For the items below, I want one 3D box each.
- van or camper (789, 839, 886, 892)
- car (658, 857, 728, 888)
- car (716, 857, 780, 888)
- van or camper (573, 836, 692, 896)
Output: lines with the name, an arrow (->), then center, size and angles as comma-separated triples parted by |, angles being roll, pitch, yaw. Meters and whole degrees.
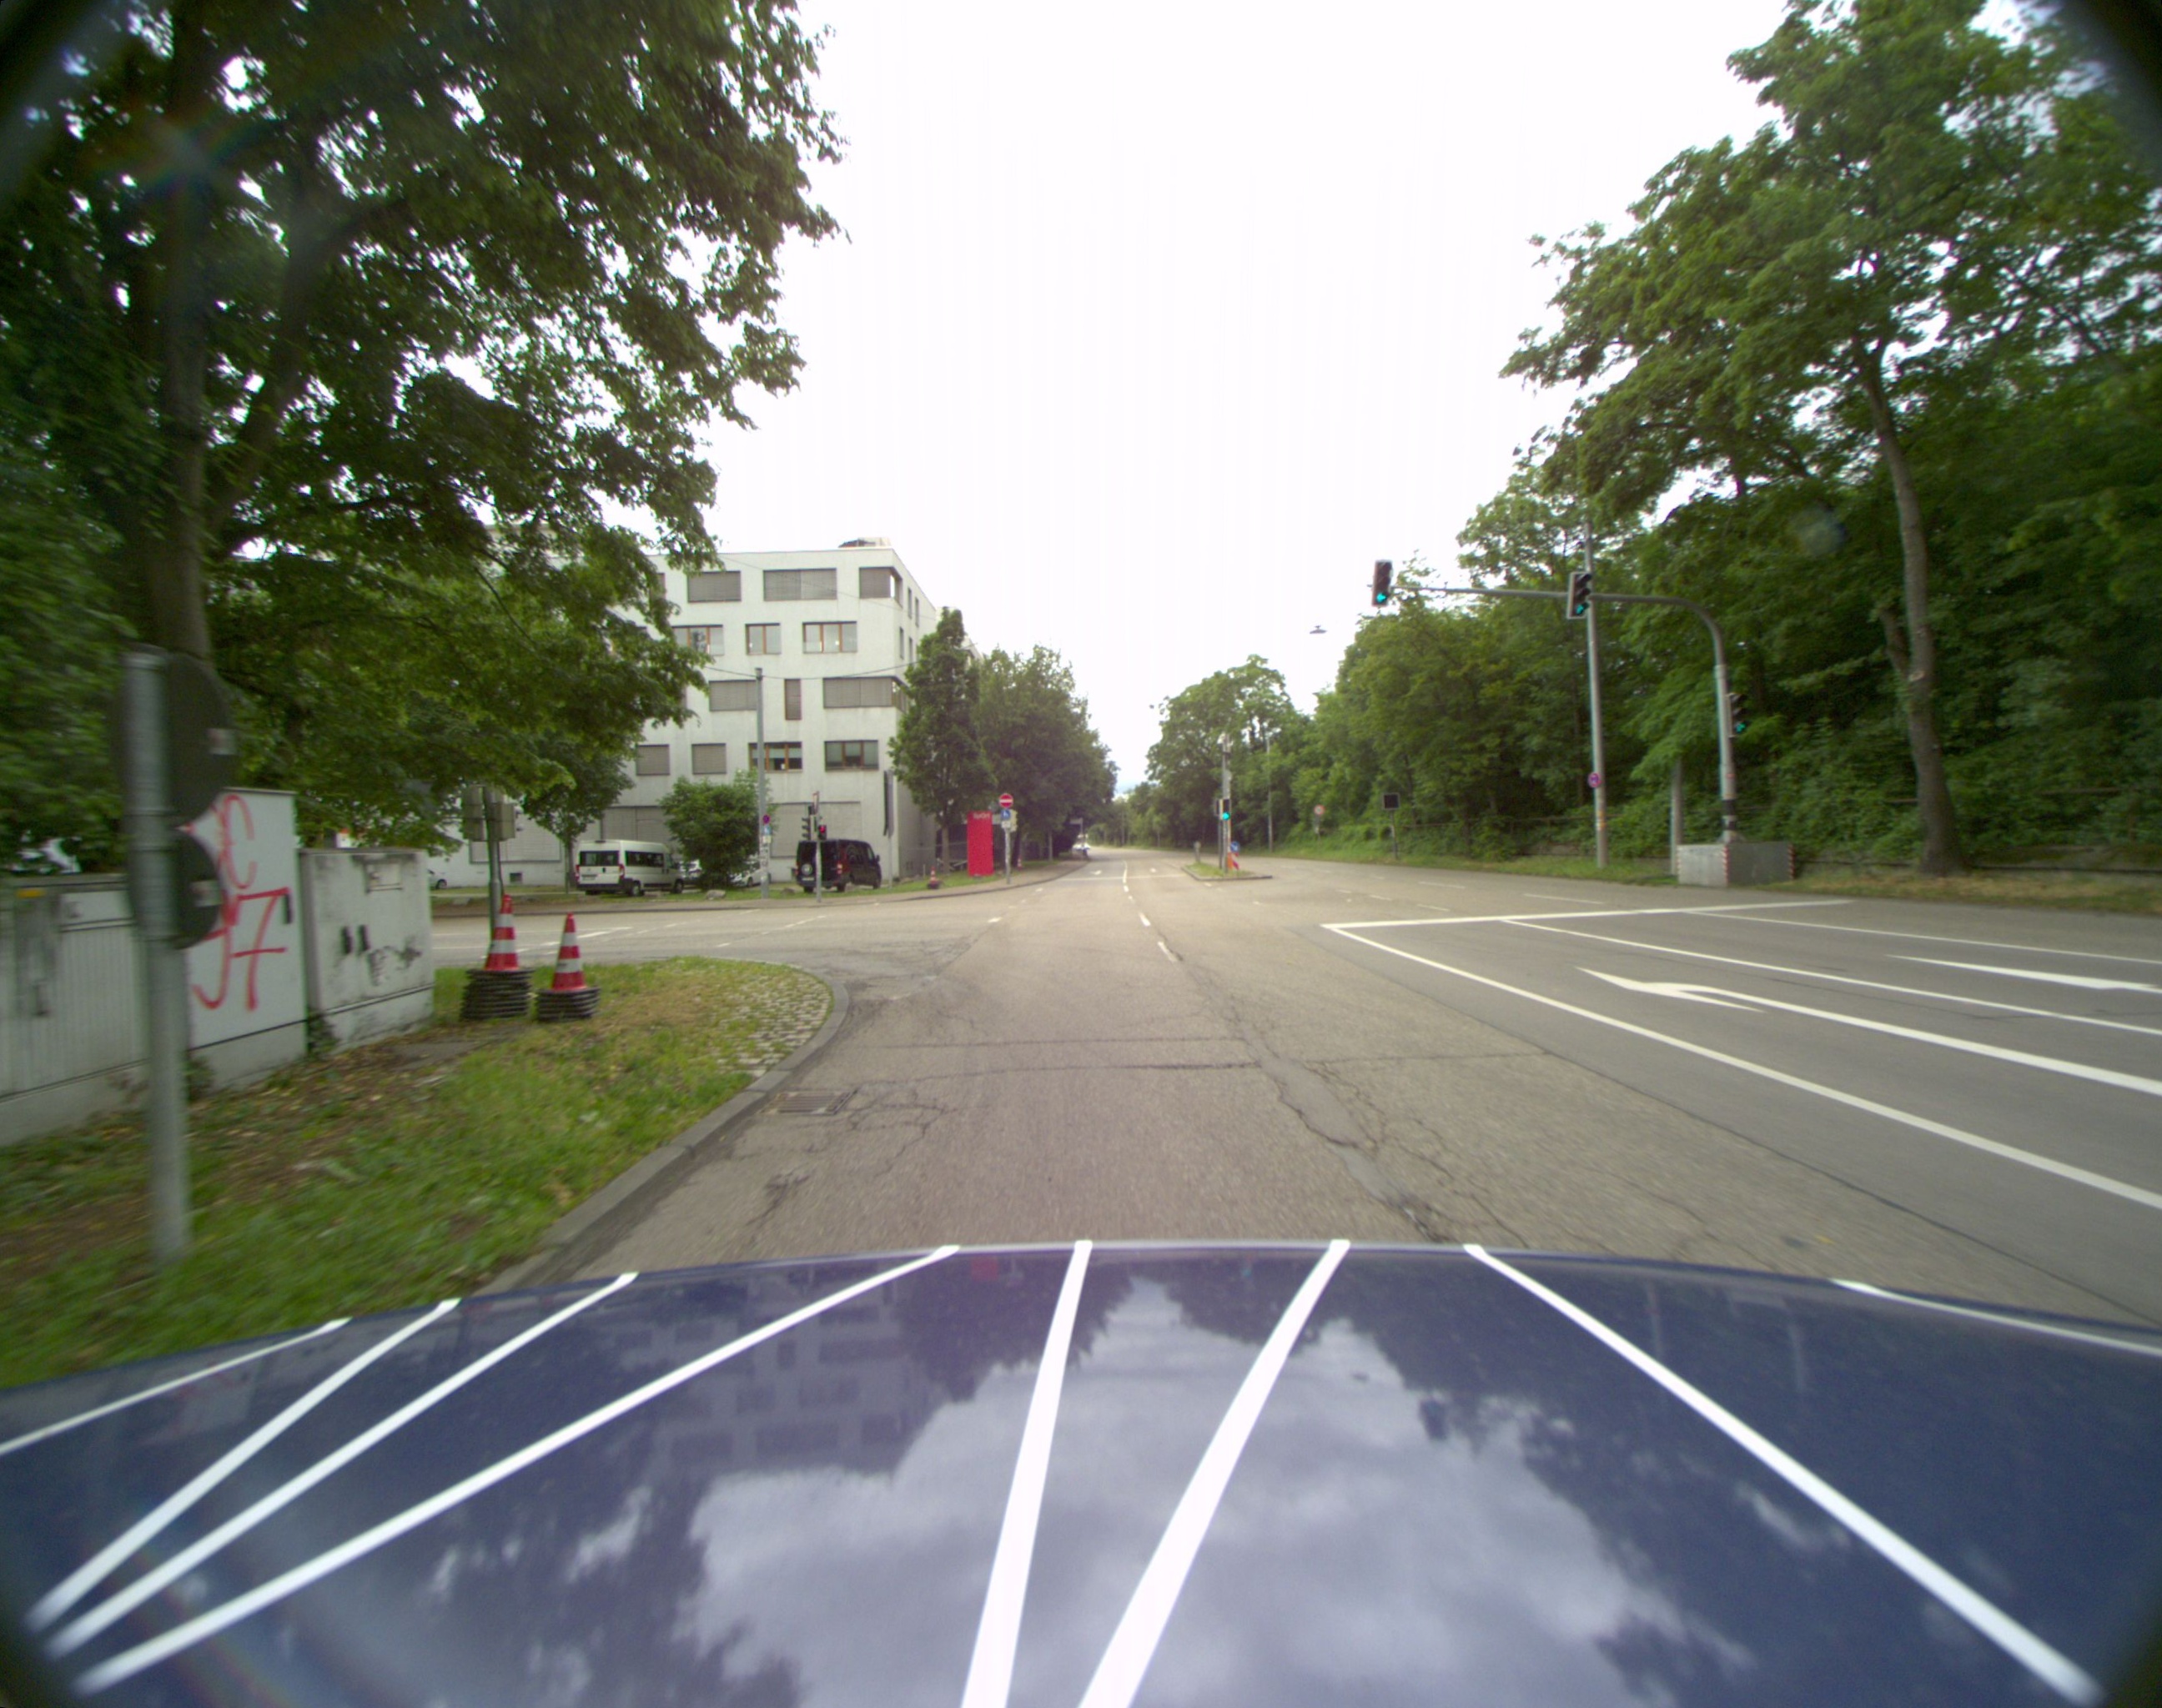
van or camper -> -10.567, 0.513, 33.520 | 2.168, 2.097, 5.646 | -2, -1, 3
car -> -22.435, 1.039, 44.097 | 1.842, 1.521, 4.080 | -2, 2, 0
car -> -19.609, 1.046, 44.899 | 1.857, 1.452, 4.073 | -2, 3, 1
van or camper -> -19.861, 0.504, 33.975 | 2.155, 2.409, 5.186 | -2, 0, 0
